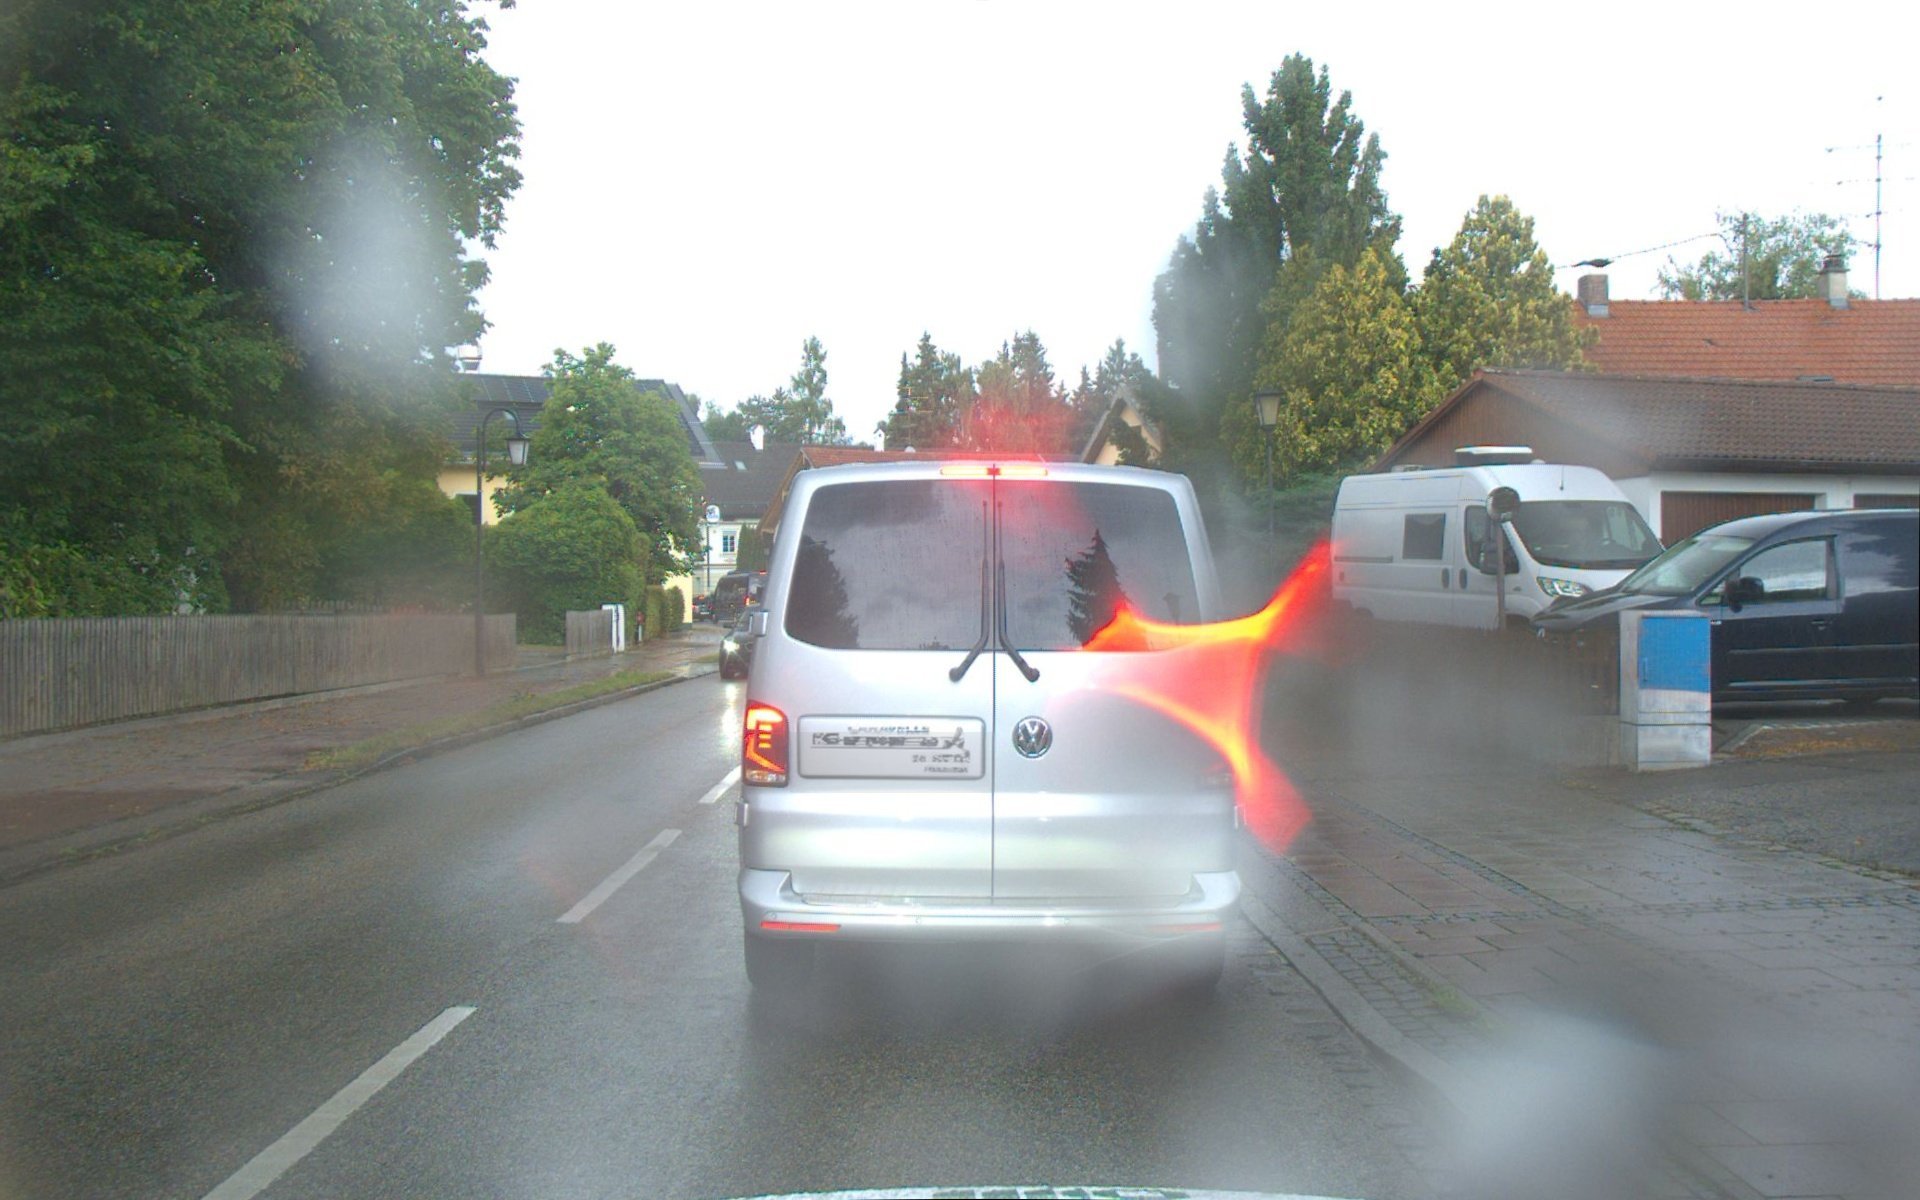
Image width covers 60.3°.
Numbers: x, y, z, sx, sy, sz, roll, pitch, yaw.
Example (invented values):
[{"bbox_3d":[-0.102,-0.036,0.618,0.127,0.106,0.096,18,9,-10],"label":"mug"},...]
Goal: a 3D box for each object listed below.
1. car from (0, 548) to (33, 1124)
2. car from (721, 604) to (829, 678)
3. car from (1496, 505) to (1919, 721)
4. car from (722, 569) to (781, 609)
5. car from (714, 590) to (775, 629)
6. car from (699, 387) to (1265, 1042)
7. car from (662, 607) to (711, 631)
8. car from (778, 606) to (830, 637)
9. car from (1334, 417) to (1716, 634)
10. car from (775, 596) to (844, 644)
[{"bbox_3d":[-3.513,0.636,2.618,1.790,1.586,4.176,-1,-1,-1],"label":"car"},{"bbox_3d":[-3.609,0.794,32.824,1.744,1.333,3.775,1,-1,-1],"label":"car"},{"bbox_3d":[7.070,0.068,14.787,4.013,1.782,1.693,-1,2,-5],"label":"car"},{"bbox_3d":[-11.139,-0.582,88.236,1.968,2.049,3.969,2,-1,-25],"label":"car"},{"bbox_3d":[-11.465,0.482,87.787,1.969,1.961,3.966,2,-1,-26],"label":"car"},{"bbox_3d":[0.124,0.385,7.295,1.763,2.049,4.000,1,-1,1],"label":"car"},{"bbox_3d":[-16.228,1.103,97.929,1.760,1.333,3.741,2,-1,-28],"label":"car"},{"bbox_3d":[-7.136,0.957,75.445,1.750,1.333,3.761,2,-1,-15],"label":"car"},{"bbox_3d":[6.516,-0.754,19.802,1.960,2.211,4.934,2,-1,-14],"label":"car"},{"bbox_3d":[-4.459,0.608,49.586,1.744,1.333,3.775,1,-1,-1],"label":"car"}]
